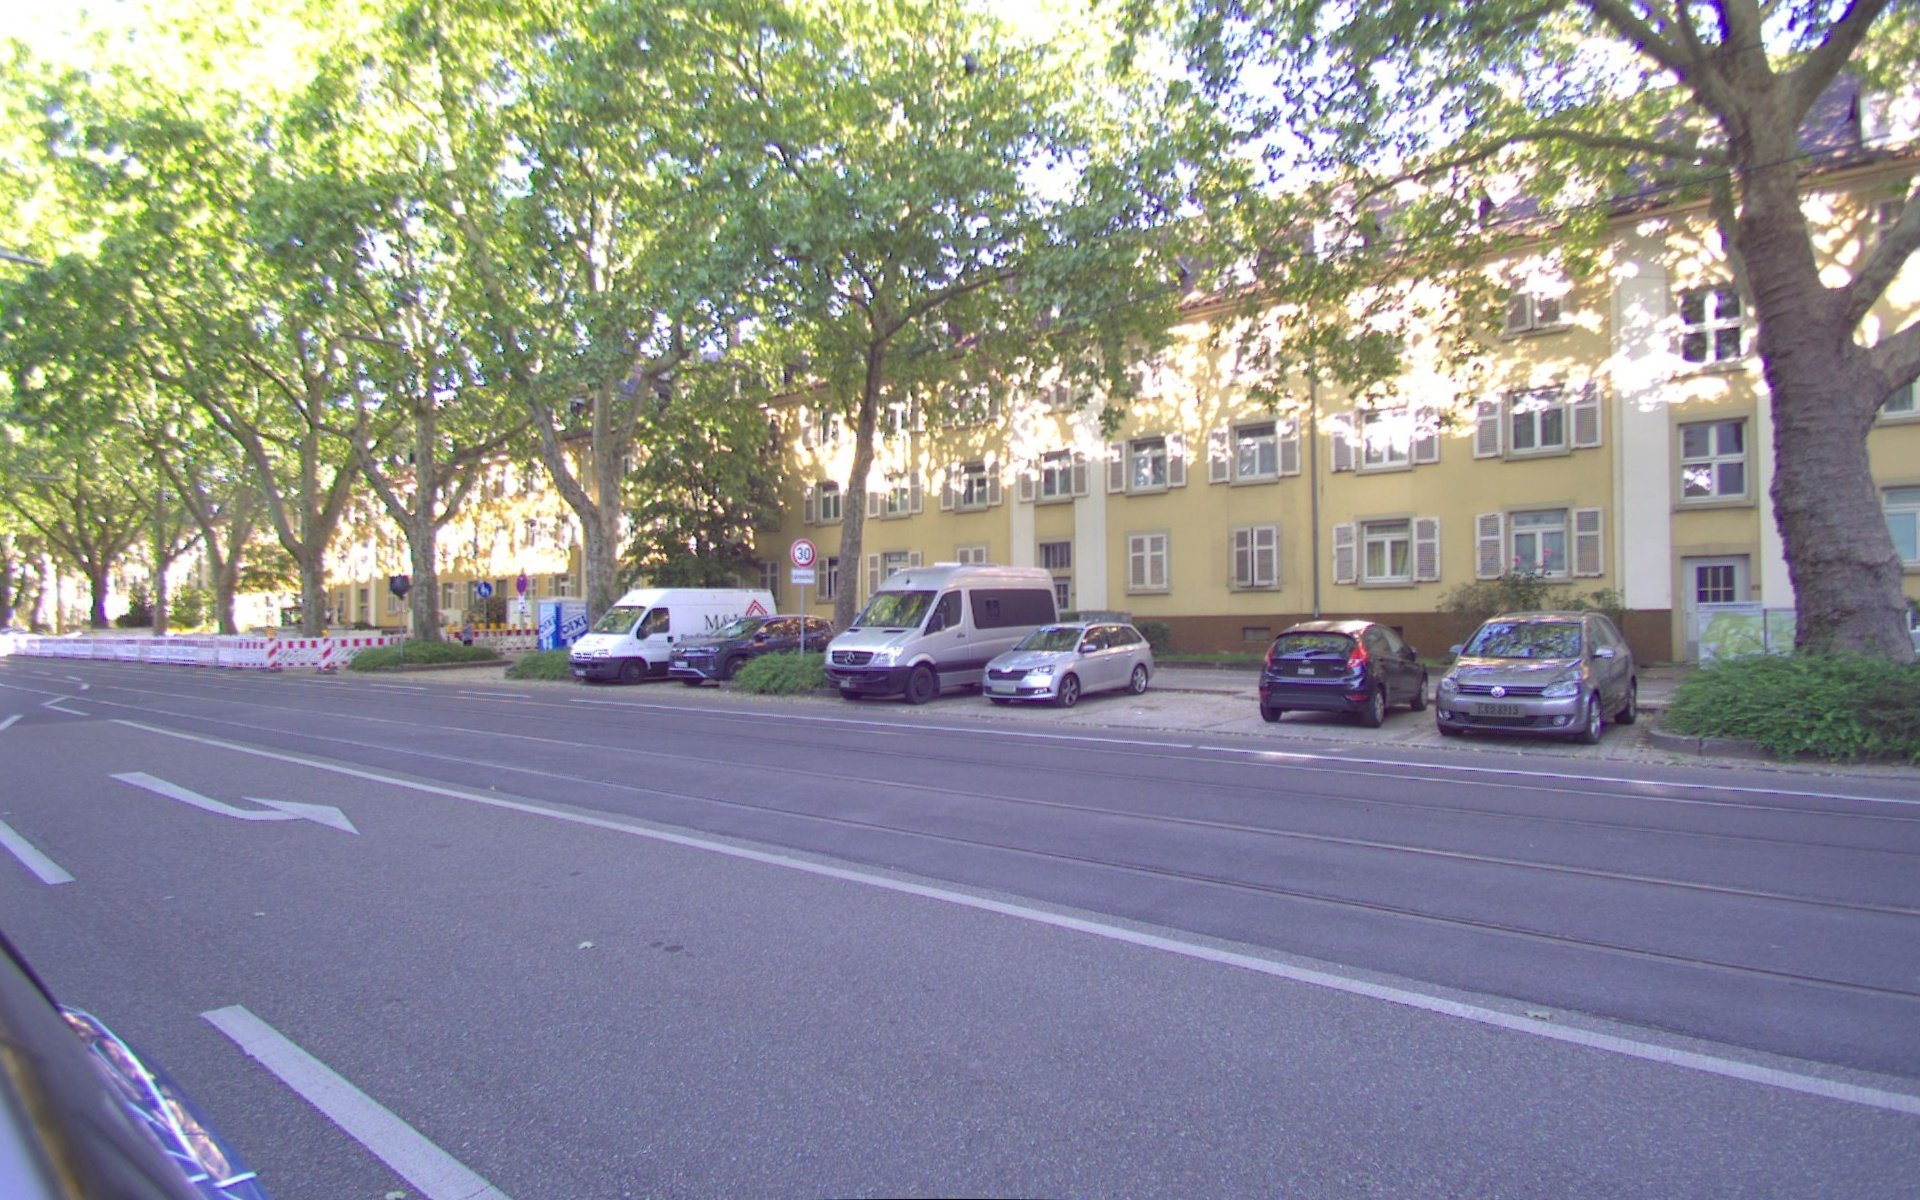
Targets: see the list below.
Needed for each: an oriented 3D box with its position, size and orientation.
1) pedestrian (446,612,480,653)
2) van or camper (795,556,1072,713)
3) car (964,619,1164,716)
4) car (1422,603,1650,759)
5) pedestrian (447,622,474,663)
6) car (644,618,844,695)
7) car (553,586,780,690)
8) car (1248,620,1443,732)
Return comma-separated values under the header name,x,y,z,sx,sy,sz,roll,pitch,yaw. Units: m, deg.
name,x,y,z,sx,sy,sz,roll,pitch,yaw
pedestrian,-25.576,1.668,52.089,1.233,2.029,1.085,-2,-2,36
van or camper,-0.312,0.612,20.485,2.227,2.697,6.052,-2,-1,38
car,2.041,1.157,18.900,1.729,1.481,4.102,0,1,40
car,7.741,0.927,13.409,1.814,1.617,4.145,-2,0,41
pedestrian,-19.290,1.642,39.089,0.710,1.585,0.594,-1,-2,14
car,-5.087,1.273,24.362,1.967,1.643,4.520,-2,-2,38
car,-7.441,0.947,26.280,2.023,2.394,5.543,-2,-2,38
car,5.911,1.048,15.323,1.740,1.440,3.528,-2,-1,39
